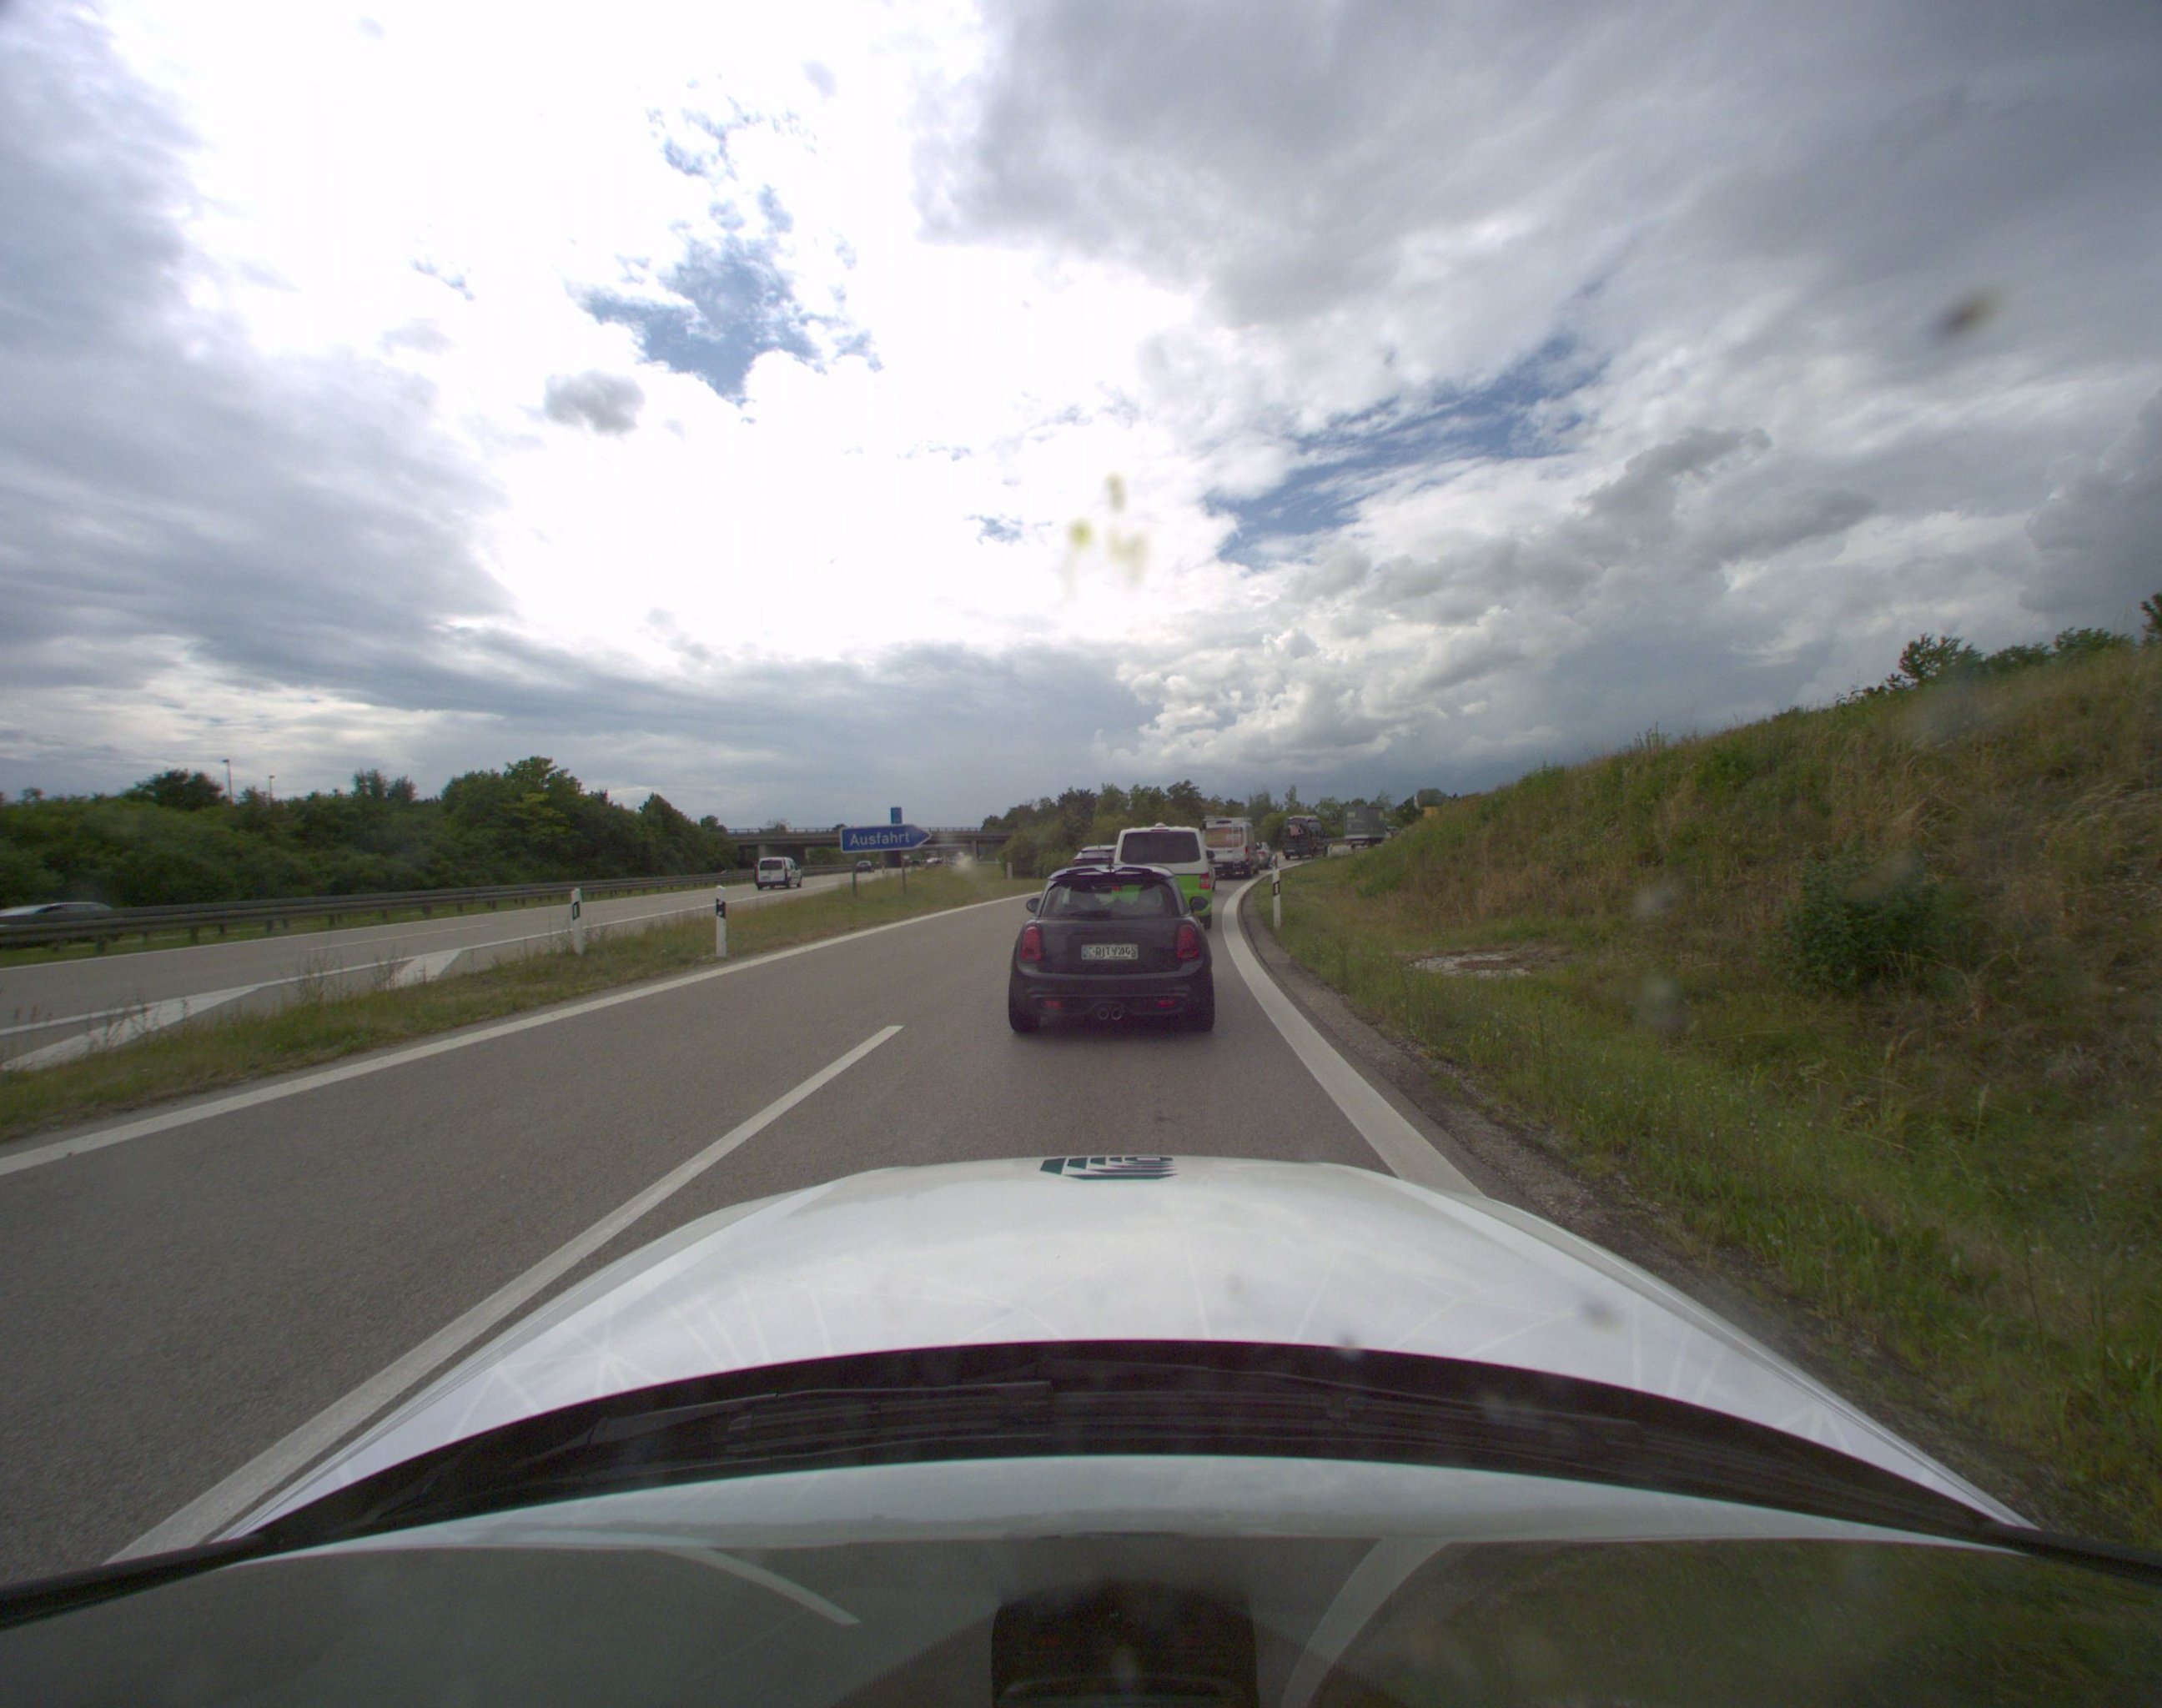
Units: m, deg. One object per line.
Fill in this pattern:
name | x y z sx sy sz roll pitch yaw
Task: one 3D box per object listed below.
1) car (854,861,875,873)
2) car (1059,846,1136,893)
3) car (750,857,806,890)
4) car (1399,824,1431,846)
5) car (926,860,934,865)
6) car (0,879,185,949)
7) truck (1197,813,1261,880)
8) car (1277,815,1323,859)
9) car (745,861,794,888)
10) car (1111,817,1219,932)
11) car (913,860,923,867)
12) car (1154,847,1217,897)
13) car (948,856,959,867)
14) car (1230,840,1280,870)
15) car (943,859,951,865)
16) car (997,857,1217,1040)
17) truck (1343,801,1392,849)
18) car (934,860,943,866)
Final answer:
car | -26.976 1.631 101.584 1.720 1.424 4.786 -2 0 -7
car | 0.699 0.520 29.826 1.821 1.566 4.514 -2 0 13
car | -17.367 1.061 46.890 1.874 1.751 4.477 -2 0 -6
car | 32.611 -1.802 79.427 1.974 2.014 4.025 -1 -1 35
car | -39.414 2.235 212.365 1.779 1.399 4.294 -2 0 -8
car | -30.455 1.764 24.859 1.992 1.802 3.990 -2 0 -7
truck | 6.594 -0.351 35.854 2.162 2.658 5.131 -2 1 16
car | 14.727 -1.101 54.537 2.085 2.796 4.024 -1 0 28
car | -22.513 1.457 59.059 1.991 1.785 5.399 -2 0 -7
car | 1.822 0.364 16.481 1.773 2.013 4.012 -1 0 11
car | -35.793 2.057 179.082 1.777 1.398 4.297 -2 0 -6
car | 3.375 0.520 25.751 1.751 1.399 3.736 -2 0 10
car | -24.952 1.490 159.628 1.993 2.014 3.988 0 -1 -9
car | 9.476 0.048 44.153 1.849 1.510 4.023 -2 0 24
car | -37.321 2.191 226.359 1.777 1.399 4.022 -2 0 -5
car | 0.306 0.762 8.328 1.720 1.413 3.728 -1 0 3
truck | 24.795 -2.437 70.396 2.207 3.907 6.054 -1 -1 37
car | -32.835 2.047 187.909 1.777 1.398 4.541 -2 0 -6
